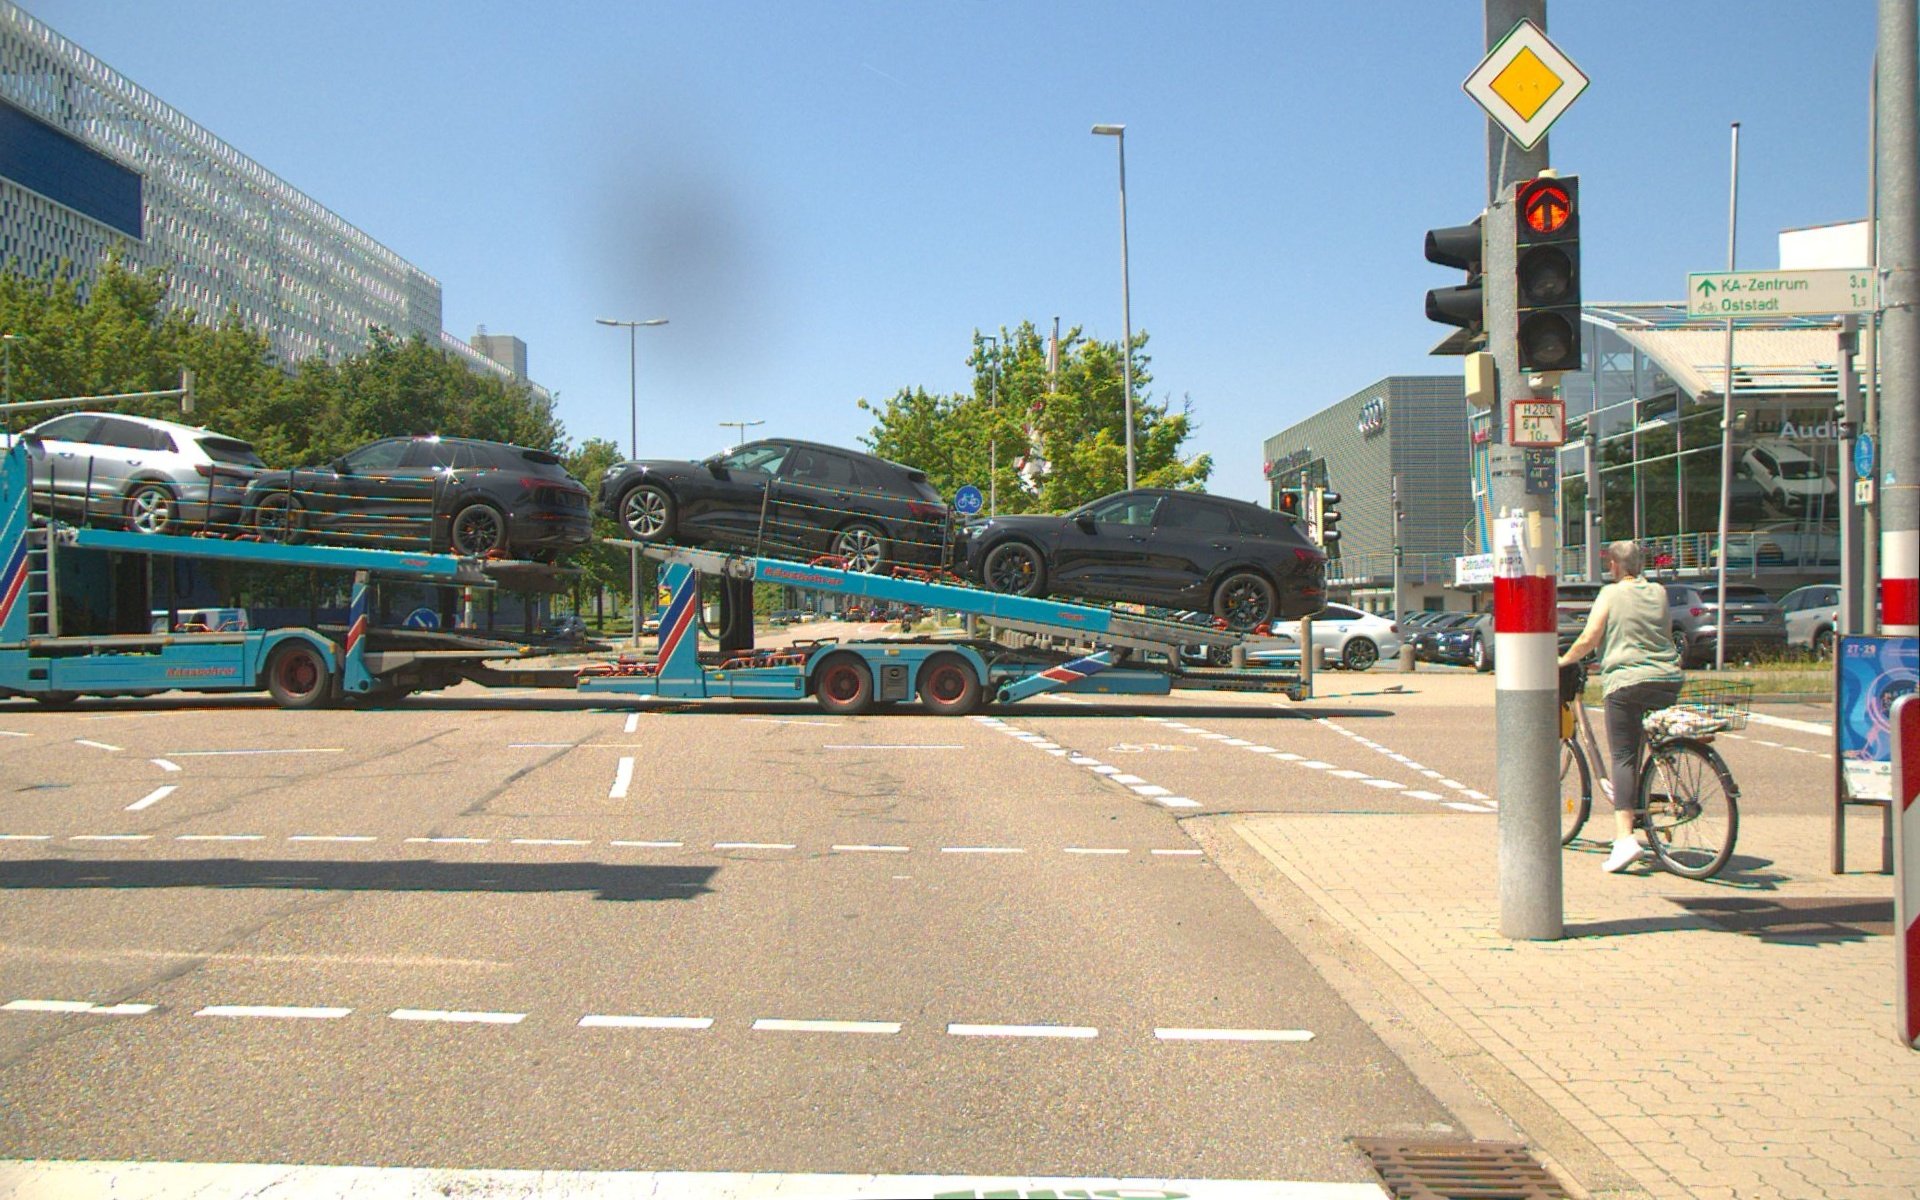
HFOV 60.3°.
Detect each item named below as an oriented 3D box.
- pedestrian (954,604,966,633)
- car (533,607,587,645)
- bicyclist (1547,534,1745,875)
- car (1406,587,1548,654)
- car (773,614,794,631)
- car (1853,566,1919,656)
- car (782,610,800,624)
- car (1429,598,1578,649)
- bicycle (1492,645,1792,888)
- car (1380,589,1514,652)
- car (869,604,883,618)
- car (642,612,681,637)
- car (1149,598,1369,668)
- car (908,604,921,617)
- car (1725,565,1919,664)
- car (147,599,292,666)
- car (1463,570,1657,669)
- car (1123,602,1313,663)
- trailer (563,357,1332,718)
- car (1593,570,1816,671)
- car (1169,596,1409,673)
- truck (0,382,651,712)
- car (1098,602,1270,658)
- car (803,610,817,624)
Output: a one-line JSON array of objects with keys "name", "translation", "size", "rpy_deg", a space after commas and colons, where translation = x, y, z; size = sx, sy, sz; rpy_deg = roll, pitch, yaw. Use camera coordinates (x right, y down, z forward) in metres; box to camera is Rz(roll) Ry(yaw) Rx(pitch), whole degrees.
[{"name": "pedestrian", "translation": [0.000, 0.976, 89.294], "size": [0.654, 1.537, 0.736], "rpy_deg": [-1, 0, -1]}, {"name": "car", "translation": [-22.819, 1.493, 94.442], "size": [1.952, 2.049, 4.001], "rpy_deg": [-1, -2, 3]}, {"name": "bicyclist", "translation": [3.727, 0.546, 9.035], "size": [0.719, 1.779, 0.753], "rpy_deg": [0, 0, -5]}, {"name": "car", "translation": [16.558, 0.645, 53.139], "size": [3.905, 2.049, 2.000], "rpy_deg": [-1, 0, 0]}, {"name": "car", "translation": [-16.969, 2.156, 159.130], "size": [1.697, 1.452, 3.705], "rpy_deg": [-3, -1, -1]}, {"name": "car", "translation": [18.711, 0.183, 30.623], "size": [1.847, 1.668, 4.524], "rpy_deg": [-1, 0, -1]}, {"name": "car", "translation": [-18.406, 1.868, 180.645], "size": [1.650, 1.436, 3.664], "rpy_deg": [-1, -1, -1]}, {"name": "car", "translation": [16.652, 0.697, 50.798], "size": [4.008, 1.486, 1.719], "rpy_deg": [-1, 0, -1]}, {"name": "bicycle", "translation": [3.735, 0.861, 9.262], "size": [0.771, 1.147, 1.919], "rpy_deg": [0, 0, -5]}, {"name": "car", "translation": [16.438, 0.684, 55.952], "size": [3.905, 2.049, 2.000], "rpy_deg": [-1, 0, 0]}, {"name": "car", "translation": [-11.240, 1.505, 221.332], "size": [1.736, 1.758, 3.999], "rpy_deg": [-1, -1, -1]}, {"name": "car", "translation": [-21.244, 1.726, 117.678], "size": [1.887, 1.694, 4.089], "rpy_deg": [-1, -1, 2]}, {"name": "car", "translation": [6.745, 0.742, 37.680], "size": [4.644, 1.482, 2.000], "rpy_deg": [-1, -1, 1]}, {"name": "car", "translation": [-6.113, 1.409, 222.081], "size": [1.736, 1.758, 3.999], "rpy_deg": [-1, -1, -1]}, {"name": "car", "translation": [16.197, 0.217, 30.589], "size": [1.953, 1.668, 4.440], "rpy_deg": [-1, 0, -1]}, {"name": "car", "translation": [-23.862, 1.020, 53.537], "size": [1.951, 2.043, 4.768], "rpy_deg": [-1, -1, 9]}, {"name": "car", "translation": [10.918, 0.308, 30.446], "size": [1.953, 1.668, 4.267], "rpy_deg": [-1, 0, -1]}, {"name": "car", "translation": [6.751, 0.846, 43.621], "size": [4.646, 1.482, 1.999], "rpy_deg": [-1, 0, -3]}, {"name": "trailer", "translation": [-0.072, -0.689, 21.418], "size": [9.406, 4.153, 3.097], "rpy_deg": [0, -1, 11]}, {"name": "car", "translation": [13.552, 0.331, 30.441], "size": [1.953, 1.668, 4.557], "rpy_deg": [-1, 0, -1]}, {"name": "car", "translation": [6.811, 0.702, 34.614], "size": [4.644, 1.482, 2.000], "rpy_deg": [-1, 0, 1]}, {"name": "truck", "translation": [-9.859, -0.633, 23.315], "size": [10.390, 4.154, 3.103], "rpy_deg": [0, -1, 11]}, {"name": "car", "translation": [6.425, 0.855, 47.840], "size": [4.646, 1.482, 1.999], "rpy_deg": [-1, 0, -3]}, {"name": "car", "translation": [-19.479, 2.191, 214.458], "size": [1.616, 1.682, 4.161], "rpy_deg": [-1, 0, -3]}]
